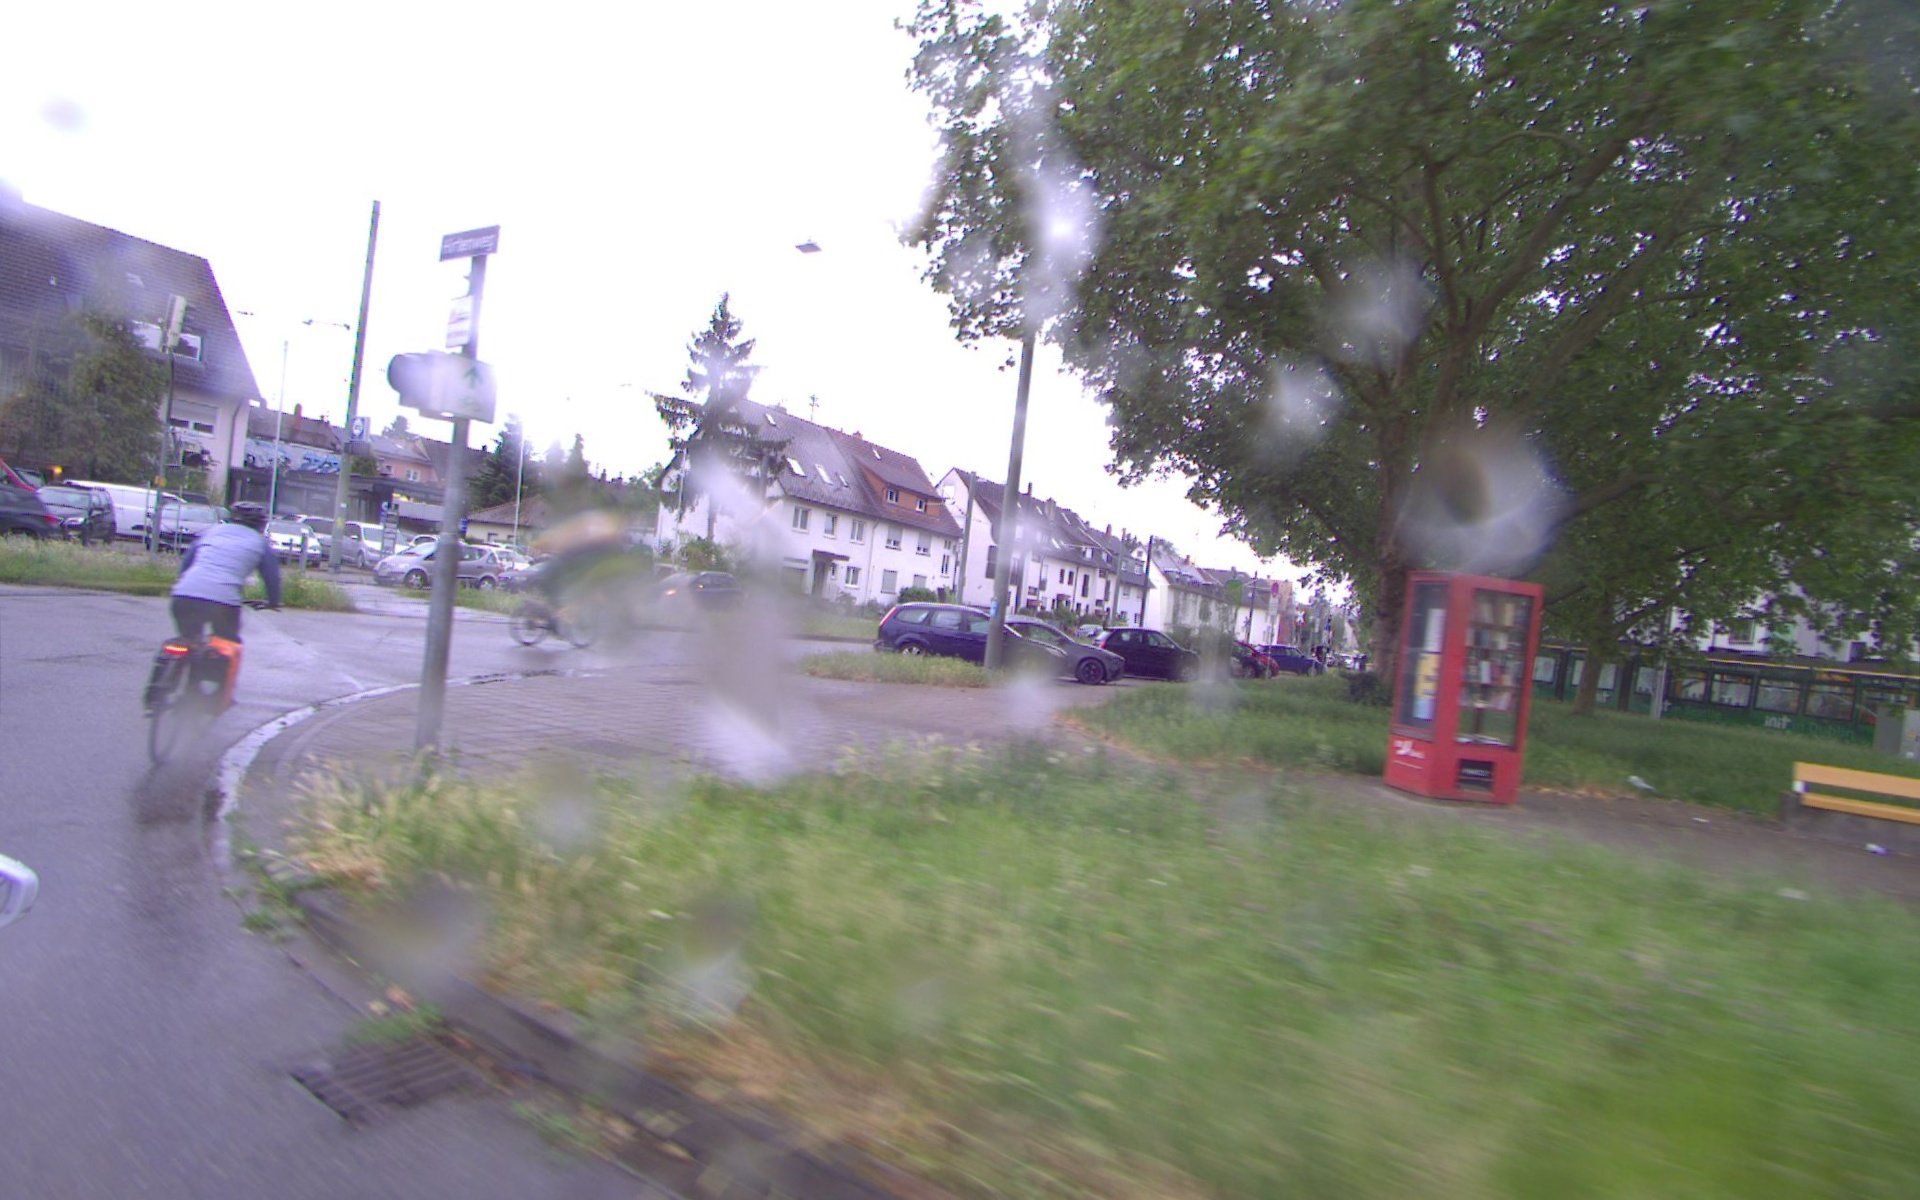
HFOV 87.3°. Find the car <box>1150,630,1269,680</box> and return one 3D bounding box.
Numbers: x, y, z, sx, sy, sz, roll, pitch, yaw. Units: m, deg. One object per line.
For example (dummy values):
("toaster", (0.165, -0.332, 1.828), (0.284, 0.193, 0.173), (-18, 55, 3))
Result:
("car", (9.651, 2.119, 39.153), (4.047, 1.498, 1.865), (5, 0, -3))

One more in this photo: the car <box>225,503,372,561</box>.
("car", (-26.604, -2.699, 40.613), (1.967, 1.708, 4.437), (6, -1, 31))

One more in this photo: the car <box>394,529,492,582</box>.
("car", (-20.247, -1.740, 39.343), (3.558, 1.591, 1.720), (7, -2, 33))

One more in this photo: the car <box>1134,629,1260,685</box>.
("car", (8.554, 2.045, 36.536), (3.929, 1.571, 1.960), (6, -1, -6))

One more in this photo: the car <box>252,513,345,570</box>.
("car", (-22.359, -2.004, 33.932), (1.823, 1.521, 4.009), (9, -2, -43))

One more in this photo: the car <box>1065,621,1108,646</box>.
("car", (10.157, 2.682, 80.527), (1.851, 1.520, 4.131), (7, -2, 29))

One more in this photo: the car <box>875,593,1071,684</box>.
("car", (0.283, 0.839, 22.664), (4.100, 1.495, 1.803), (7, 0, -1))

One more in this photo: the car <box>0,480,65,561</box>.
("car", (-20.034, -1.753, 19.134), (1.965, 1.494, 3.994), (7, 0, 28))

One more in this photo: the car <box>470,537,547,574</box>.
("car", (-25.393, -2.487, 56.773), (1.759, 1.600, 4.449), (6, -1, 8))

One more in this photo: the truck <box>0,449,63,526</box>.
("truck", (-33.008, -3.934, 32.347), (6.058, 2.300, 1.977), (6, 0, -42))

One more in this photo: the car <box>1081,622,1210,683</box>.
("car", (5.697, 1.593, 31.072), (3.454, 1.524, 1.753), (5, -1, -6))

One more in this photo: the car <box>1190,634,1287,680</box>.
("car", (11.598, 2.367, 42.042), (3.530, 1.498, 1.638), (5, 0, 3))

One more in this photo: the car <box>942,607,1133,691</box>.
("car", (1.876, 1.190, 25.141), (4.465, 1.495, 1.804), (7, 0, 0))

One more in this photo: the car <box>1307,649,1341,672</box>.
("car", (29.159, 4.862, 80.565), (1.927, 1.571, 3.996), (5, -2, 28))

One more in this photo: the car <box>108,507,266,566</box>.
("car", (-30.280, -2.459, 39.522), (1.967, 1.708, 4.437), (6, -1, 31))

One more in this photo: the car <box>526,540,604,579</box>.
("car", (-21.071, -2.141, 53.877), (1.829, 1.600, 4.402), (6, -1, 8))

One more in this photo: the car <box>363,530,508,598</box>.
("car", (-16.486, -1.101, 31.806), (1.693, 1.521, 3.643), (7, -2, 27))

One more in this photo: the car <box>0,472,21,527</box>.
("car", (-31.156, -3.290, 30.335), (3.949, 1.617, 1.977), (6, 0, -41))

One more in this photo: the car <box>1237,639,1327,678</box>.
("car", (16.776, 3.044, 52.594), (3.926, 1.502, 1.998), (6, 1, -2))

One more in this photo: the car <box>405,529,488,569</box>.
("car", (-26.946, -2.670, 52.780), (3.929, 1.515, 1.787), (7, -2, 27))

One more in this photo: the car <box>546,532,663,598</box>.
("car", (-16.845, -1.681, 47.607), (5.061, 2.434, 2.150), (7, -2, 29))

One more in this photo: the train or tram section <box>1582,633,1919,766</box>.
("train or tram section", (30.957, 3.605, 37.973), (2.673, 3.632, 14.696), (8, -1, -14))

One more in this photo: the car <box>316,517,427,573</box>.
("car", (-21.422, -2.005, 36.610), (3.807, 1.599, 1.803), (7, 1, 31))

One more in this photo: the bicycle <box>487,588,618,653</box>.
("bicycle", (-6.934, 0.375, 17.233), (0.809, 0.923, 1.984), (6, -1, 26))

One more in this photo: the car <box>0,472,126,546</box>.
("car", (-25.556, -2.528, 28.562), (1.976, 1.738, 3.971), (6, 0, -28))

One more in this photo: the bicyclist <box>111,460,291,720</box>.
("bicyclist", (-4.793, -0.057, 6.416), (0.745, 1.505, 0.839), (5, 2, -32))

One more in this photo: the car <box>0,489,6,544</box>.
("car", (-27.533, -2.383, 26.937), (1.786, 1.599, 3.844), (6, 1, -28))

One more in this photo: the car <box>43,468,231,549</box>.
("car", (-27.755, -3.044, 34.079), (1.967, 2.038, 4.437), (6, 0, 31))

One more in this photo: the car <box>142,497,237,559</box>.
("car", (-23.946, -2.188, 31.389), (1.816, 1.521, 4.025), (9, -2, -32))

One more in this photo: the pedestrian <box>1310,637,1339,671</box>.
("pedestrian", (20.452, 3.013, 56.511), (1.029, 1.735, 1.079), (6, 0, -5))

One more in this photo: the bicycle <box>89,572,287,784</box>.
("bicycle", (-4.896, 0.436, 6.509), (0.747, 1.087, 1.910), (5, 1, -32))

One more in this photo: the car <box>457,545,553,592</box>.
("car", (-18.842, -1.313, 41.662), (3.779, 1.412, 1.720), (7, -2, 33))

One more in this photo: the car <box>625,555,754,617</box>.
("car", (-9.975, -0.472, 37.498), (1.965, 1.623, 4.572), (7, -2, 27))

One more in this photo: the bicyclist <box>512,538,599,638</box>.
("bicyclist", (-6.899, -0.196, 17.182), (0.819, 1.577, 0.913), (6, -1, 27))

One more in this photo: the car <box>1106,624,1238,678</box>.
("car", (7.106, 1.711, 33.934), (3.929, 1.519, 1.823), (4, -1, -8))

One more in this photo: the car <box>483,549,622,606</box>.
("car", (-14.355, -0.760, 35.725), (1.693, 1.354, 4.386), (7, -2, 29))

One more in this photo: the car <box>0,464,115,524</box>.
("car", (-34.103, -3.951, 36.785), (1.967, 1.708, 4.437), (6, -1, 31))

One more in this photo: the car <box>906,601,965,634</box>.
("car", (-1.419, 1.036, 59.343), (1.578, 1.439, 3.941), (7, -2, 29))

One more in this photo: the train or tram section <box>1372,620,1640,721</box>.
("train or tram section", (27.451, 3.312, 52.251), (2.673, 3.632, 14.696), (8, -1, -14))

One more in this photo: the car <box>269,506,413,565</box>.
("car", (-24.364, -2.505, 39.751), (1.731, 1.708, 4.437), (6, -1, 31))
